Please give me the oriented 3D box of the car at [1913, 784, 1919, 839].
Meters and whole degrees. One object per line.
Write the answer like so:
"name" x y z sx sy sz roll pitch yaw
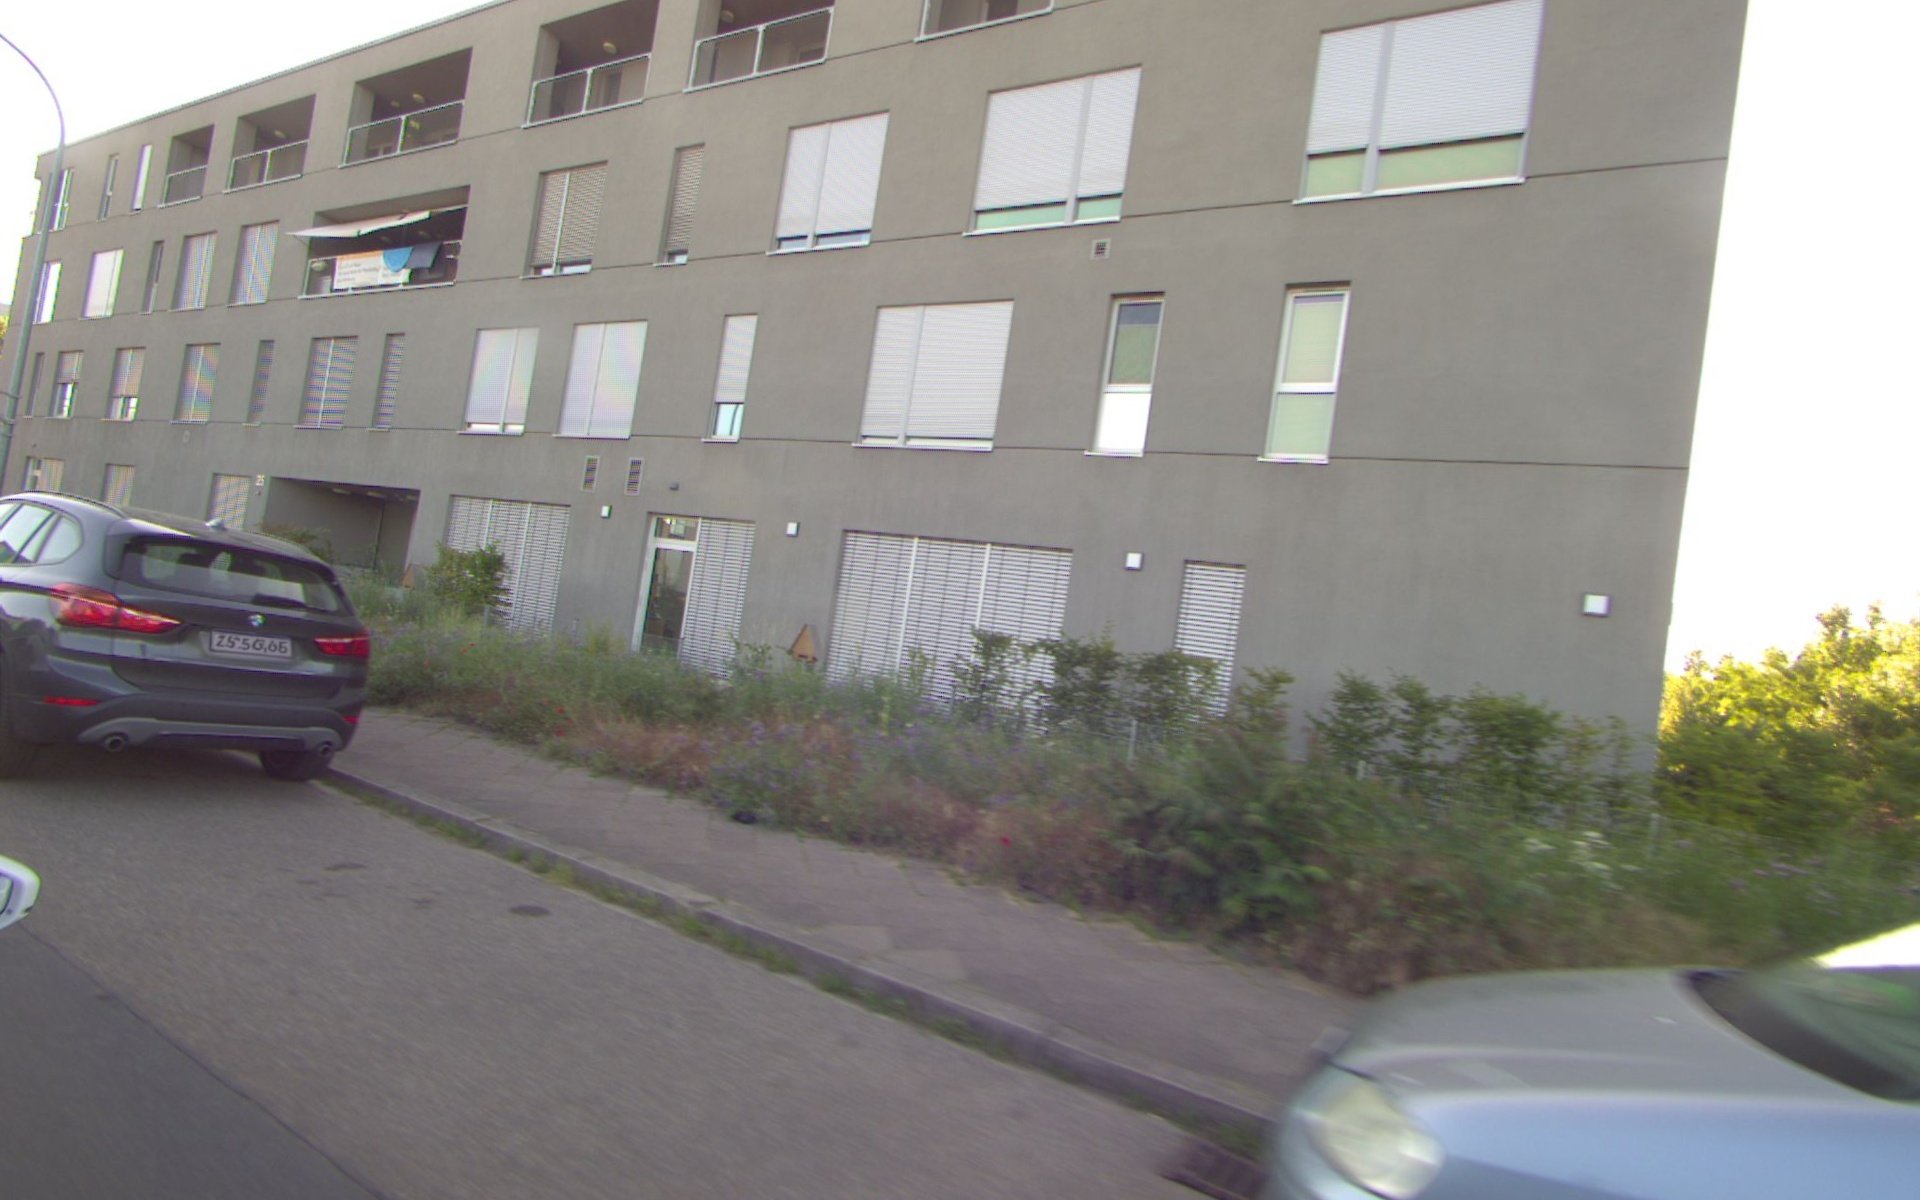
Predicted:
"car" 27.412 5.963 27.045 1.615 1.558 3.897 7 -2 31

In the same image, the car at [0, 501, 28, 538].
"car" -44.851 -3.948 45.736 1.426 1.475 3.225 7 -5 34

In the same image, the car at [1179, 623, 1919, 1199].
"car" 2.630 1.202 1.632 4.108 1.624 1.683 7 -5 31

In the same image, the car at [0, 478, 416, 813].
"car" -5.850 0.165 6.842 4.109 1.641 1.748 7 -4 31
